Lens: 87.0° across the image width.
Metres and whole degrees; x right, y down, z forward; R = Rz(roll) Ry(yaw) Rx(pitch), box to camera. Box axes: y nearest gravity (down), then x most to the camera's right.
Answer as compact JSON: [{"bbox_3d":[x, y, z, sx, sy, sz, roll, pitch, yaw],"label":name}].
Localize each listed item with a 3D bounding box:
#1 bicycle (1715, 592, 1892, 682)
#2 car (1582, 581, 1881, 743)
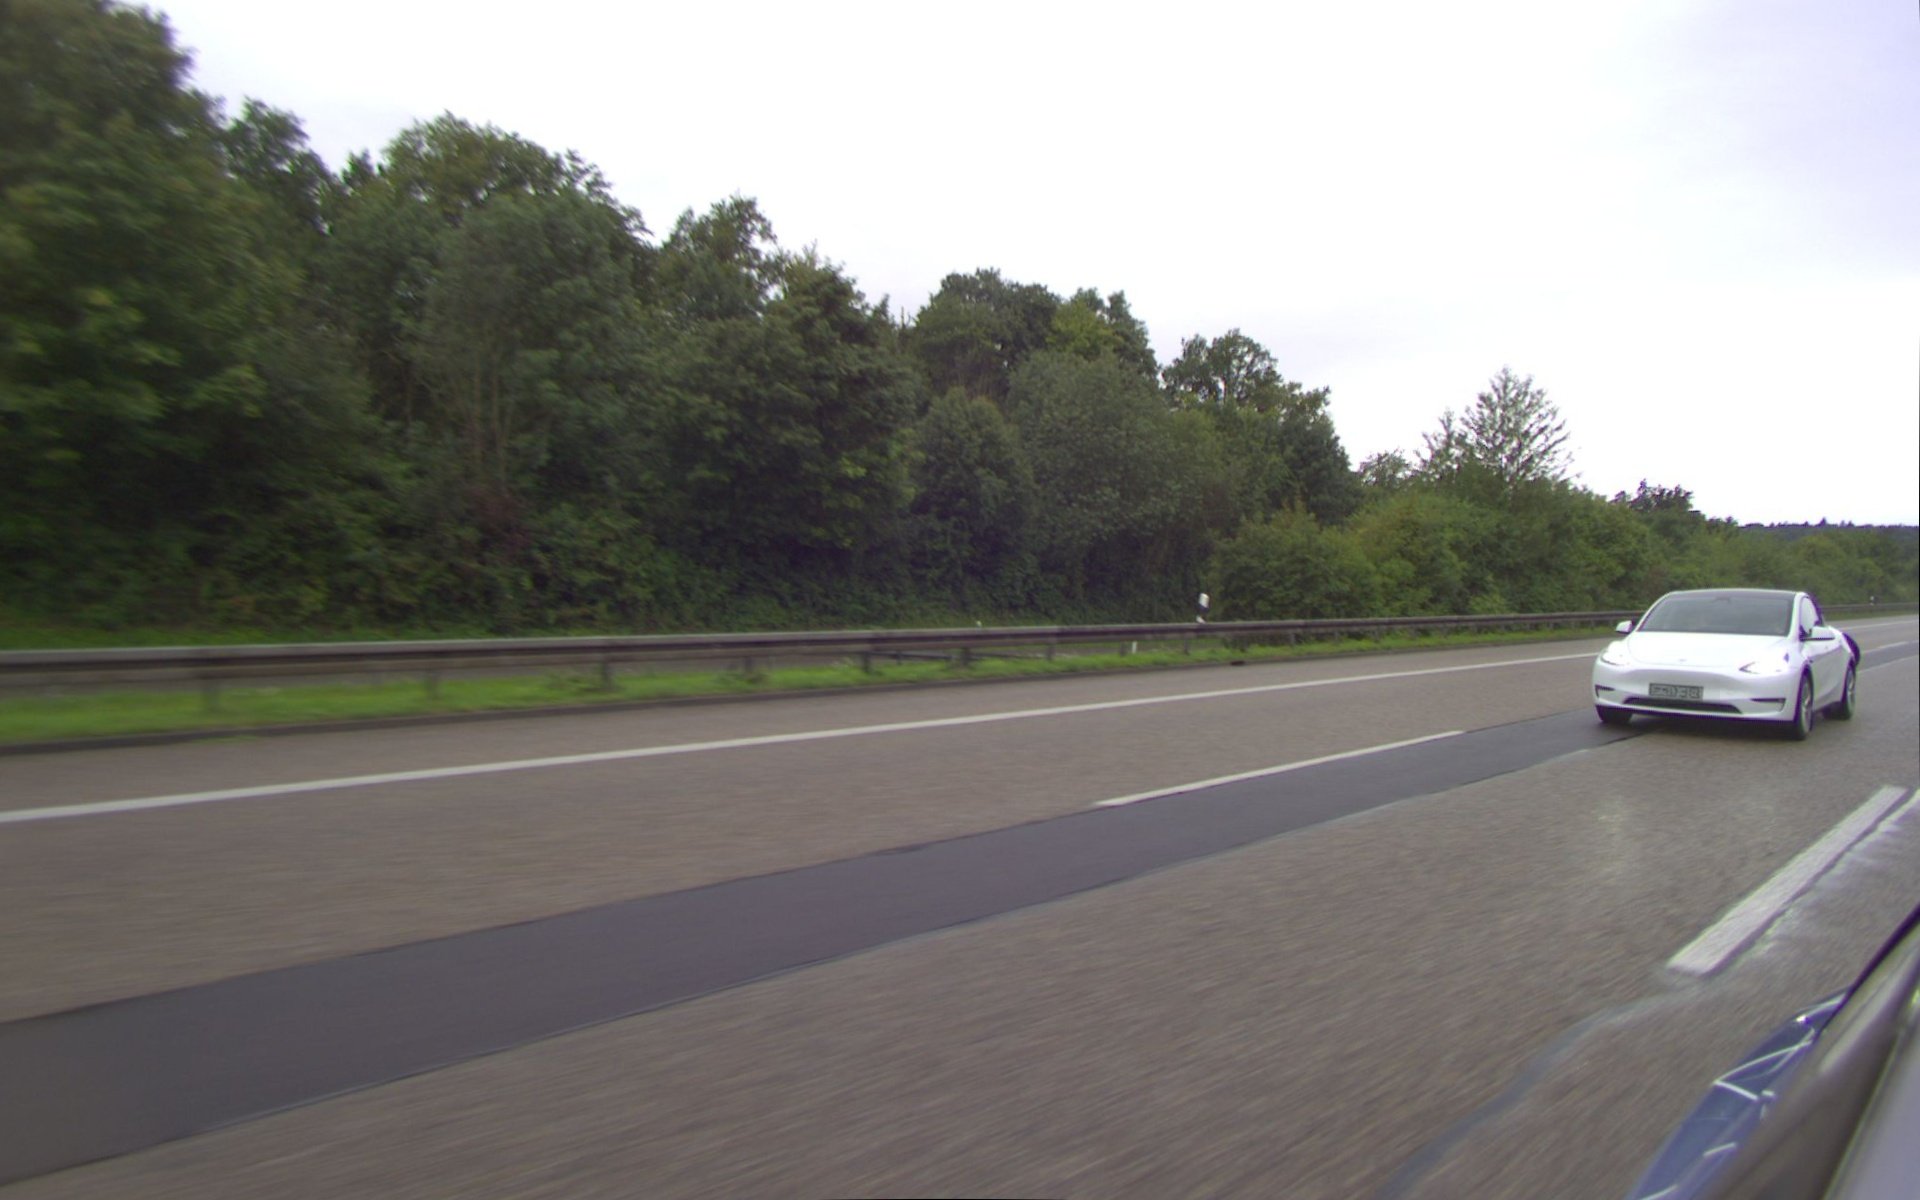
[{"bbox_3d":[11.660,0.469,14.027,0.898,1.104,1.757,-2,2,-40],"label":"bicycle"},{"bbox_3d":[9.405,0.562,12.169,4.876,1.587,1.864,-1,1,-40],"label":"car"}]
